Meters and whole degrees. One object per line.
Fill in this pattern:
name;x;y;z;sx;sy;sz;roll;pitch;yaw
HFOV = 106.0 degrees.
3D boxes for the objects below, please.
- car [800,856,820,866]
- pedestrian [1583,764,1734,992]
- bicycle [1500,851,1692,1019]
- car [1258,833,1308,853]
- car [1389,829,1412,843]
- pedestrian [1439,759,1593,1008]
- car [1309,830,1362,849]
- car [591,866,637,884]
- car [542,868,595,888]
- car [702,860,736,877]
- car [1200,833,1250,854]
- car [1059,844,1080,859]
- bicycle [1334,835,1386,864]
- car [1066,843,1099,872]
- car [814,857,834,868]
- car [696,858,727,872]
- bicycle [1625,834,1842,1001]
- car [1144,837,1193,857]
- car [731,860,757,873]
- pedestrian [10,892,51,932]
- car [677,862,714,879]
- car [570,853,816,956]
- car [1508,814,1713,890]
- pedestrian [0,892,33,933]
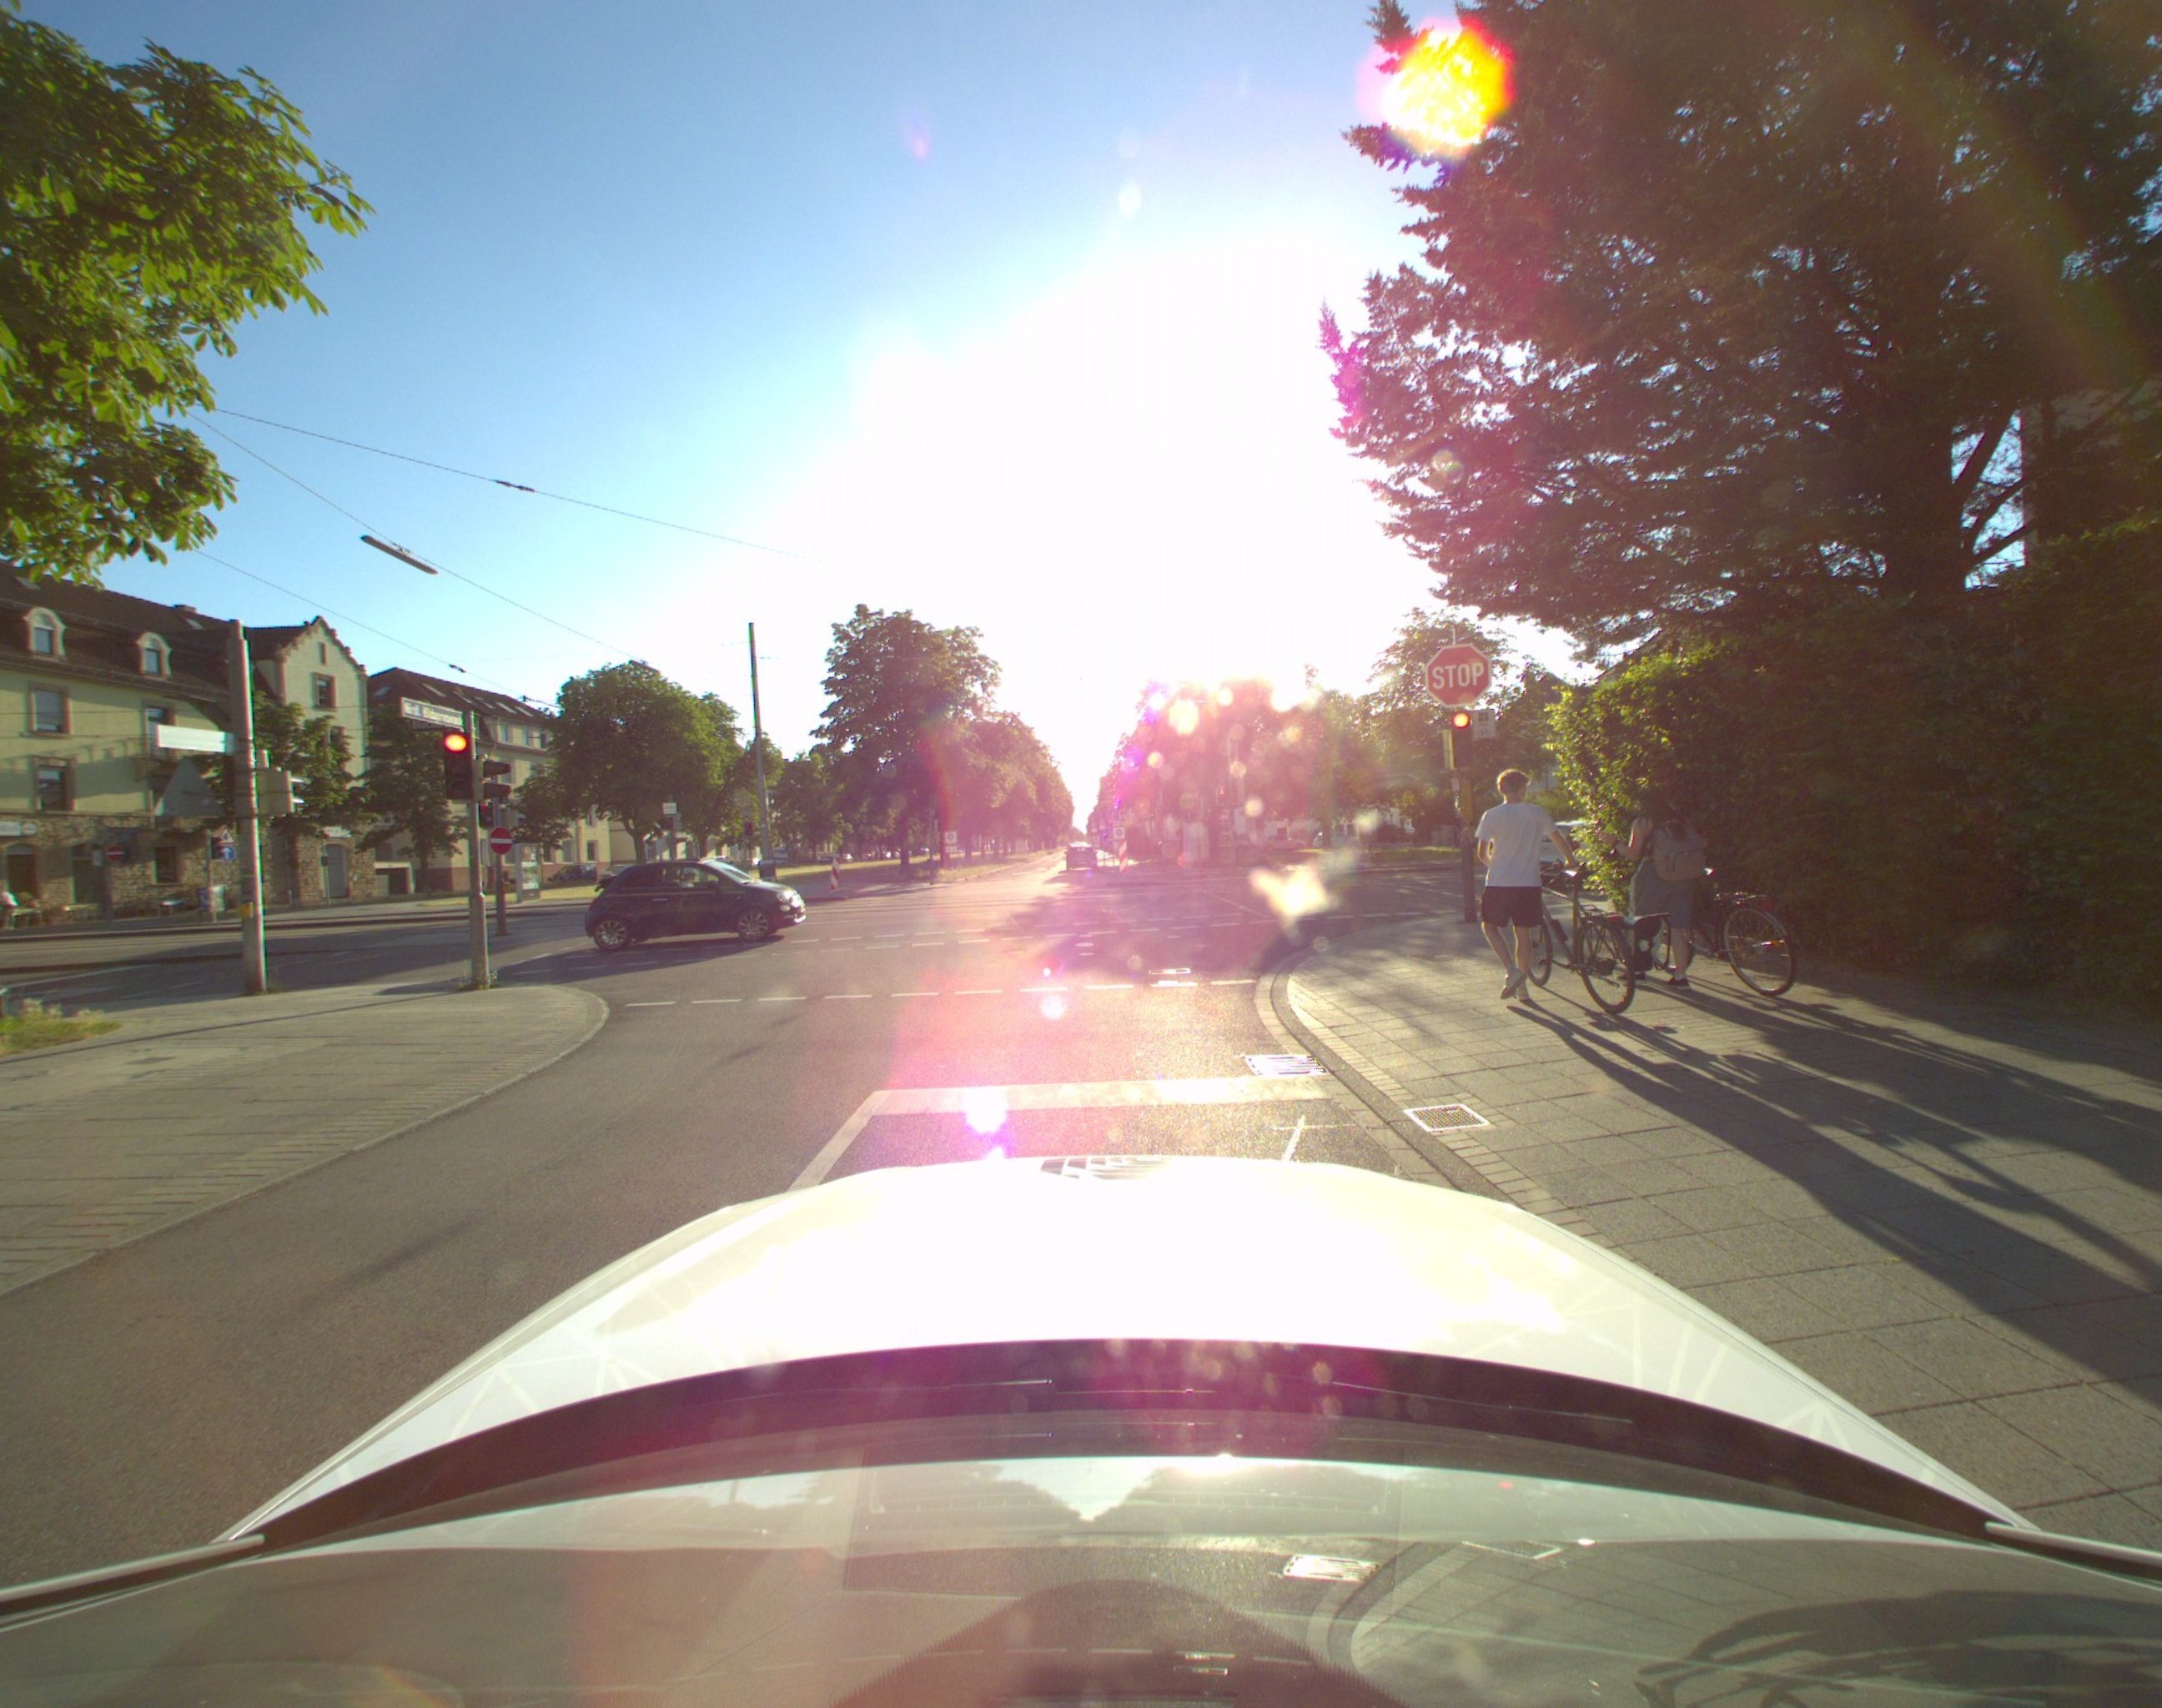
car;-42.917;1.076;129.102;1.732;1.427;3.793;-2;1;1
pedestrian;4.661;0.184;6.615;0.665;1.708;0.624;-6;1;7
bicycle;4.048;0.567;6.571;0.484;1.097;1.794;-5;1;6
car;16.495;-0.907;66.574;3.656;1.427;1.529;-2;0;-4
car;33.276;-1.897;84.814;1.648;1.417;3.565;-2;1;30
pedestrian;3.545;0.221;6.716;0.667;1.865;0.883;-6;1;4
car;21.008;-1.173;67.236;3.838;1.427;1.595;-2;0;-4
car;-42.923;1.907;74.938;1.729;1.427;3.799;-2;1;6
car;-42.997;1.999;68.459;1.729;1.397;3.799;-2;1;6
car;-37.191;1.497;83.756;1.732;1.427;3.793;-2;2;1
car;11.776;-0.906;66.748;3.767;1.525;1.744;-2;2;0
car;-1.094;-0.242;79.504;1.839;1.393;3.830;-2;1;1
bicycle;11.727;-0.202;34.256;1.946;1.132;0.620;-3;0;2
car;0.129;0.172;45.581;1.634;1.450;3.310;-2;1;3
car;-37.540;1.183;119.058;1.732;1.427;3.793;-2;1;1
car;-42.967;1.265;94.865;1.732;1.427;3.793;-2;1;1
bicycle;5.112;0.430;6.513;0.484;1.142;1.600;-5;1;5
car;7.116;-0.577;66.535;3.767;1.427;1.744;-2;2;0
car;-43.384;1.616;104.979;1.732;1.427;3.793;-2;1;1
pedestrian;-45.315;2.483;35.130;0.808;1.642;0.727;-2;0;8
car;-37.195;1.541;78.660;1.732;1.427;3.793;-2;1;1
car;-6.810;0.843;14.666;3.596;1.497;1.607;-3;1;-10
car;11.802;-0.081;18.240;3.687;1.488;1.735;-2;1;-11
pedestrian;-45.015;2.477;34.263;0.721;1.642;0.815;-3;0;-1
